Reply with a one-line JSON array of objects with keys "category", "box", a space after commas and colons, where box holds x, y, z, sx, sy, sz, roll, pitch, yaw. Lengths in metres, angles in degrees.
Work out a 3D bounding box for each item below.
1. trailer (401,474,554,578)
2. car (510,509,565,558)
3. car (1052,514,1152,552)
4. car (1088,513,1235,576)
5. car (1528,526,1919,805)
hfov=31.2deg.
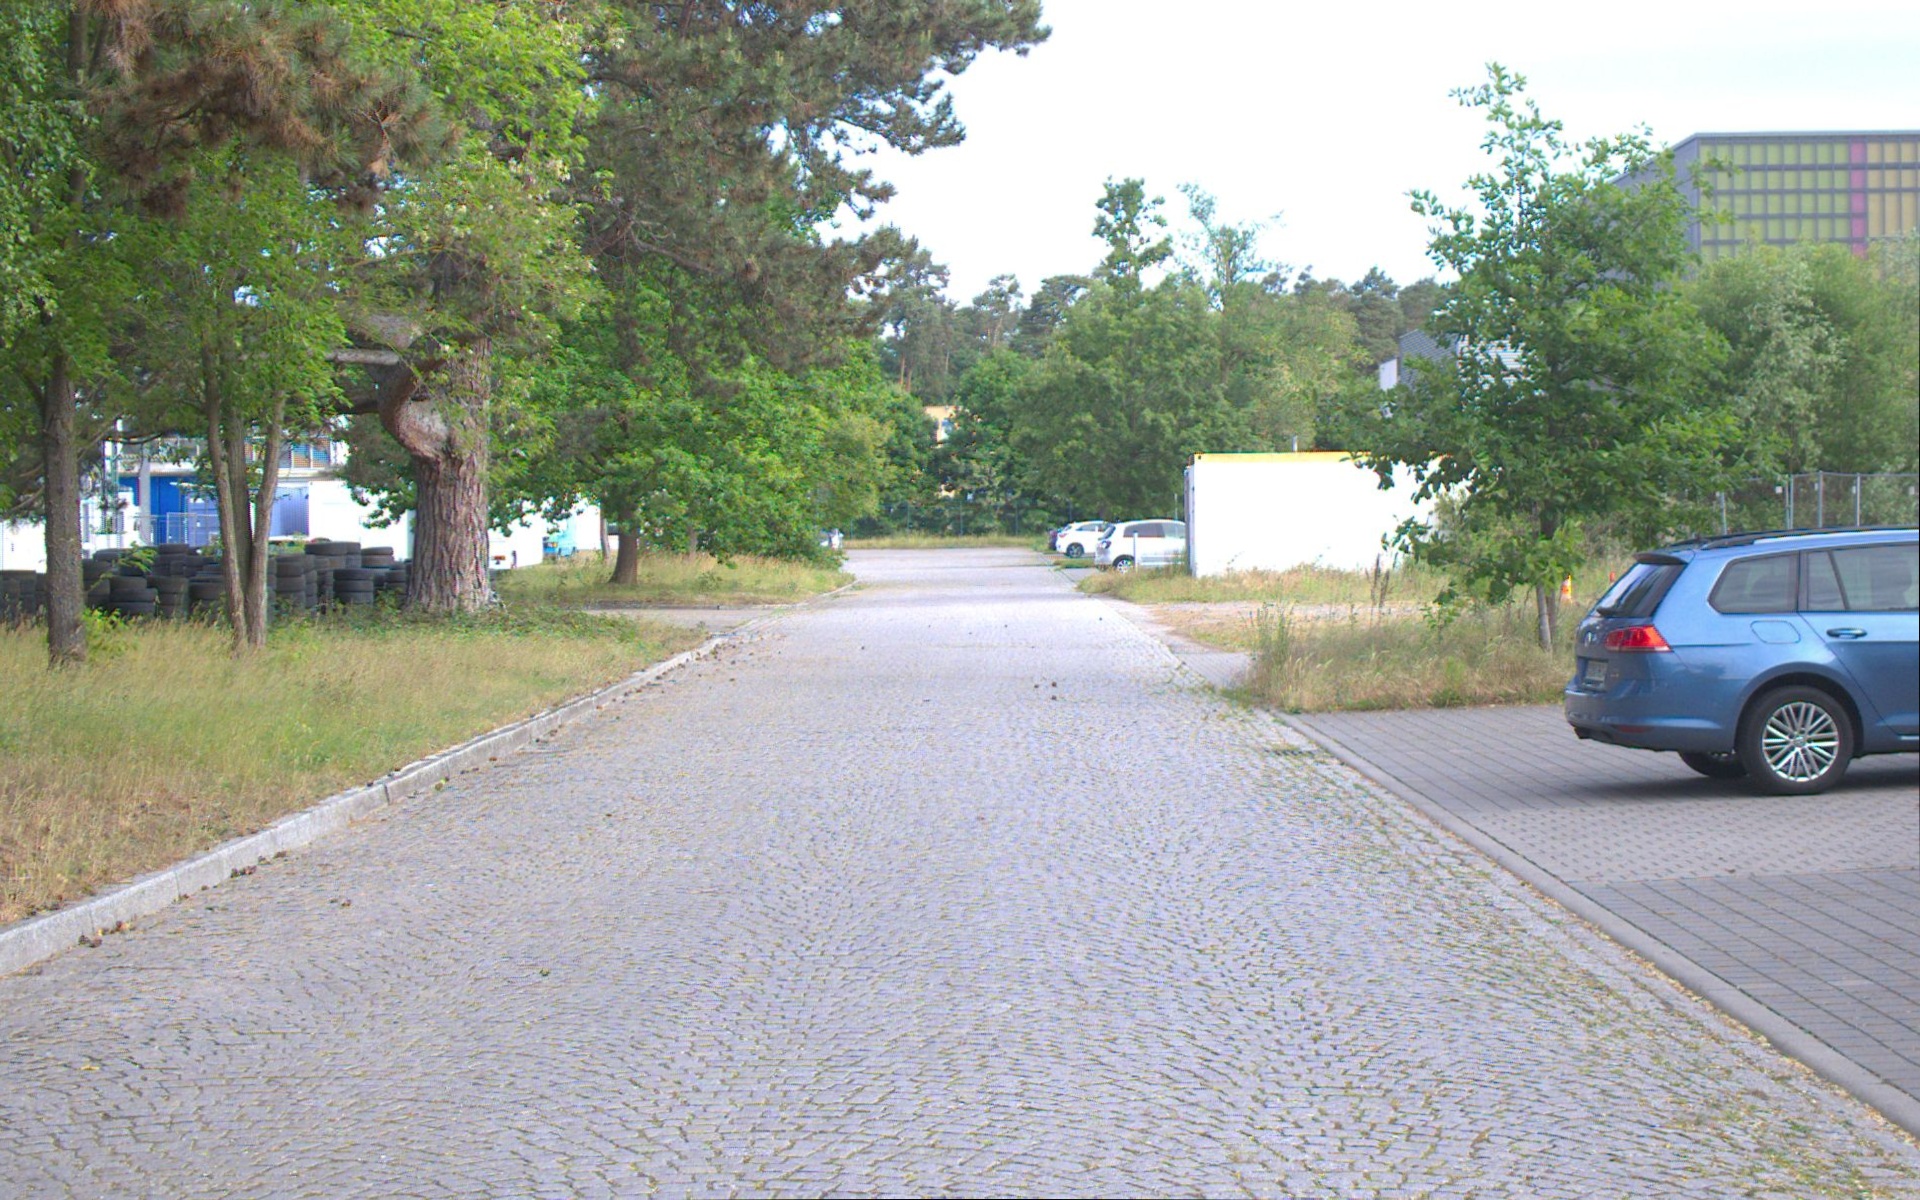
[{"category": "trailer", "box": [-14.849, -2.305, 106.502, 3.159, 3.057, 8.784, -1, 1, 2]}, {"category": "car", "box": [-18.076, -2.870, 147.400, 1.925, 2.040, 4.601, -1, 1, -2]}, {"category": "car", "box": [5.772, -2.722, 139.780, 4.025, 1.496, 1.548, -1, 1, 1]}, {"category": "car", "box": [5.474, -1.519, 93.640, 3.849, 1.649, 1.686, -1, 1, -2]}, {"category": "car", "box": [5.783, 0.294, 20.100, 4.521, 1.438, 1.824, -3, 1, -3]}]
